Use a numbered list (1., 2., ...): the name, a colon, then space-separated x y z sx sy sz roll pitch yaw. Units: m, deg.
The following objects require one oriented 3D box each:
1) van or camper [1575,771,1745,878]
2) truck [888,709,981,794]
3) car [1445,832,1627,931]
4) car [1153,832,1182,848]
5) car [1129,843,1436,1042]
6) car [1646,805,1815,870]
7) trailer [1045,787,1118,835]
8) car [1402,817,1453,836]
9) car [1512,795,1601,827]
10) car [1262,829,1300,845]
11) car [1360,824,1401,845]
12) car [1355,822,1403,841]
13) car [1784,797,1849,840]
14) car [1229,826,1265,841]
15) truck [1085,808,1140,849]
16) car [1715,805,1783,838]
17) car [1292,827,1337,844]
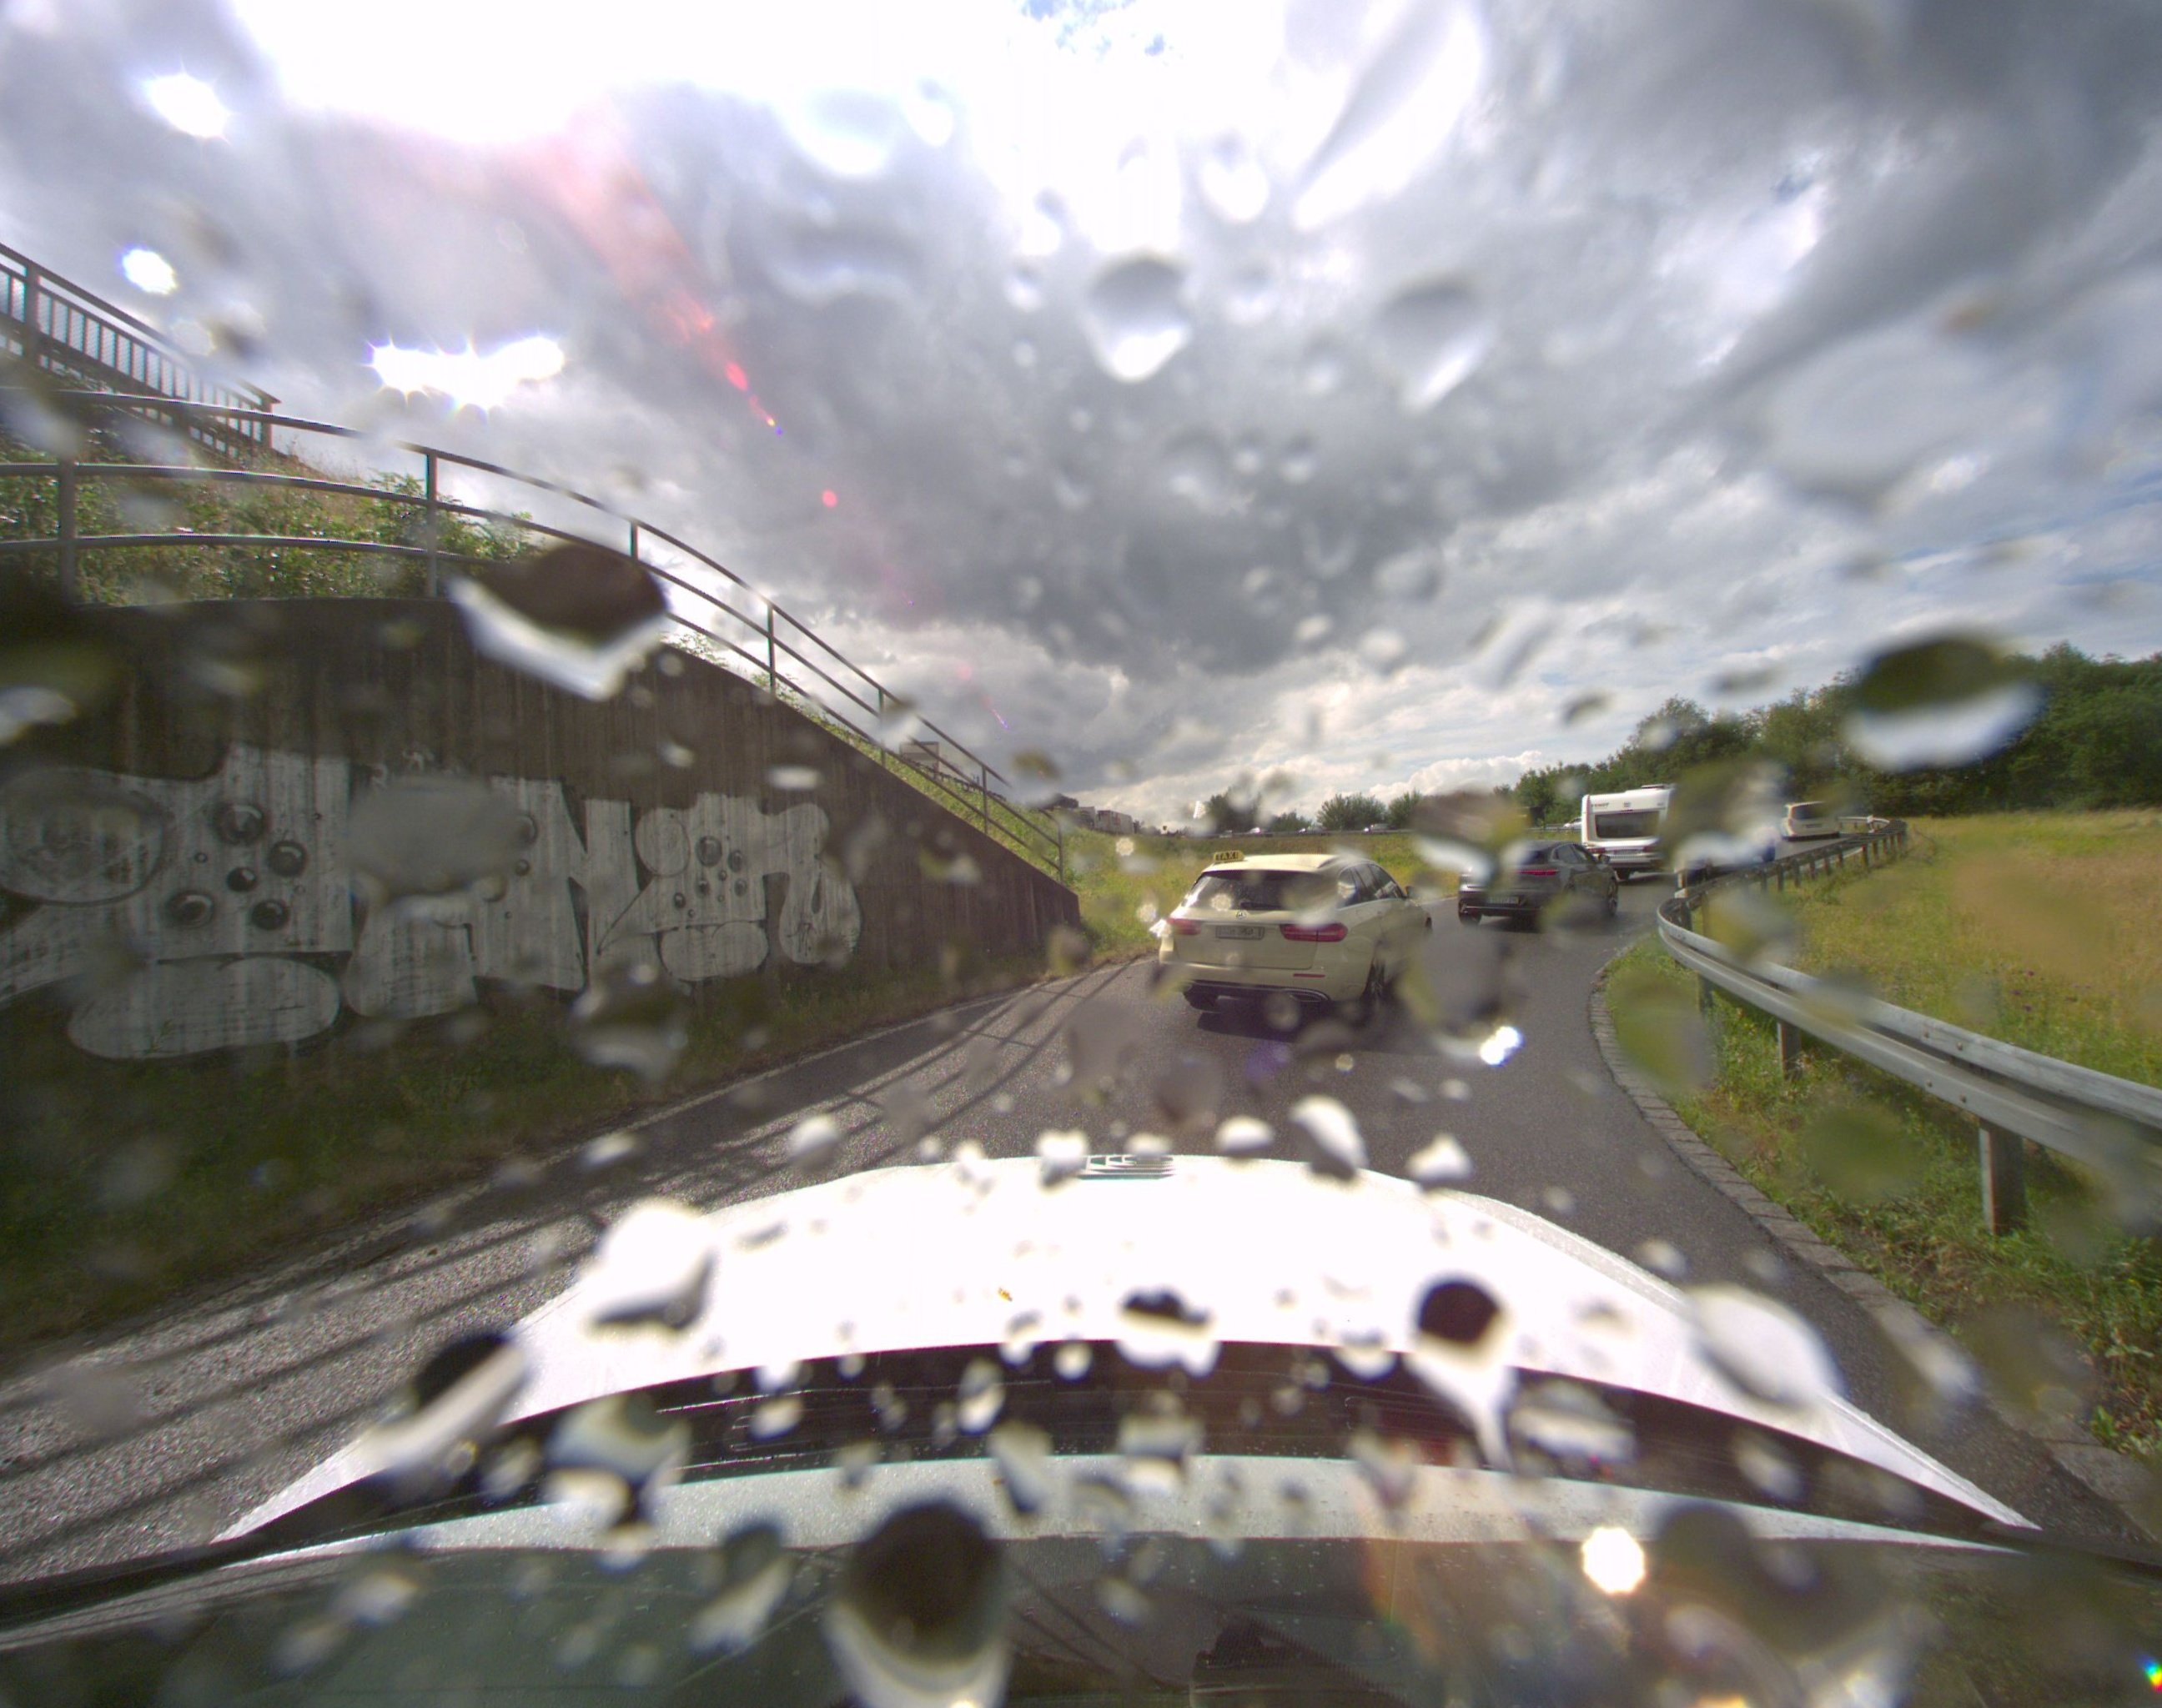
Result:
1. van or camper: 16.922 -0.802 23.662 6.031 2.729 2.410 -1 0 -39
2. truck: -9.345 -6.448 53.364 3.162 3.967 9.256 -1 -3 8
3. car: 8.327 0.430 14.745 4.023 1.525 1.702 -2 -1 -44
4. car: 12.311 -1.997 116.176 3.965 2.014 1.830 -1 -3 7
5. car: 2.433 0.652 8.690 1.898 1.507 4.625 0 1 31
6. car: 21.473 -0.565 26.858 5.778 1.925 2.412 -2 0 -30
7. trailer: 0.506 -4.968 100.554 4.382 3.956 20.287 -1 -3 13
8. car: 39.179 -3.096 92.096 2.007 1.861 5.005 -2 -2 -32
9. car: 44.951 -4.028 77.211 2.877 2.595 6.932 -3 0 -22
10. car: 26.910 -2.246 109.776 4.452 1.861 2.013 -4 -2 39
11. car: 35.755 -2.305 97.284 2.008 2.014 3.956 1 -7 -35
12. car: 35.632 -2.668 97.519 2.008 1.861 5.002 -2 -2 -35
13. car: 36.363 -1.714 40.369 1.974 1.861 5.089 -4 -2 38
14. car: 23.877 -2.941 117.402 2.009 1.861 5.002 -2 -2 -35
15. truck: 4.940 -3.528 119.619 4.429 4.504 19.441 -1 -3 13
16. car: 40.974 -1.935 50.088 1.976 1.861 5.086 1 1 24
17. car: 29.652 -2.288 103.516 2.011 1.861 4.995 -1 -2 -44
